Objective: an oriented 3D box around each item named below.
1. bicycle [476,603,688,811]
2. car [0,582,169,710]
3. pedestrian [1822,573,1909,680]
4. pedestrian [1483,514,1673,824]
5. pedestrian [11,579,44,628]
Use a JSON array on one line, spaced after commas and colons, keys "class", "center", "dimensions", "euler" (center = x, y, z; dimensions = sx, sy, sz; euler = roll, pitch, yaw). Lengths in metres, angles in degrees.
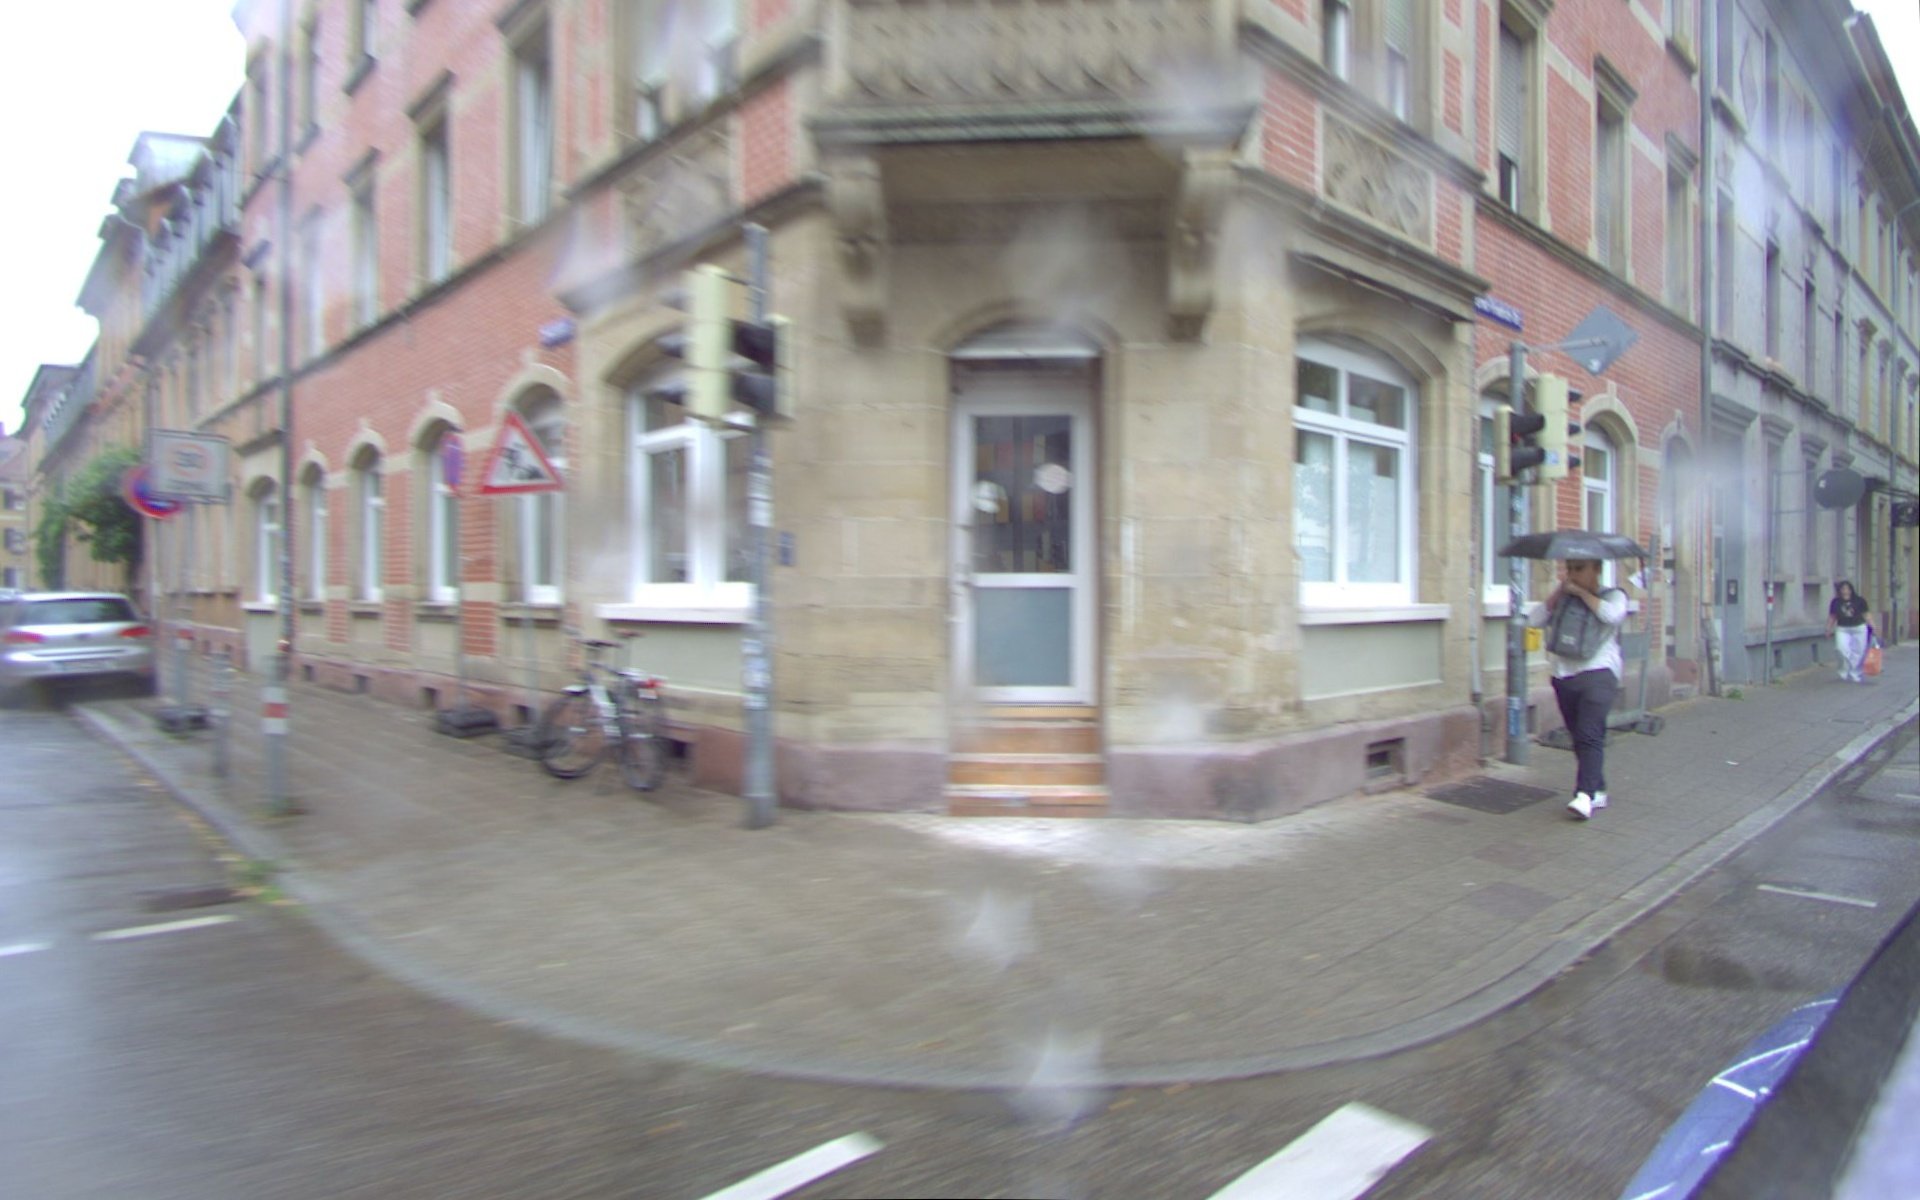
[{"class": "bicycle", "center": [-2.616, 0.658, 6.904], "dimensions": [1.685, 1.237, 0.668], "euler": [-2, 0, 43]}, {"class": "car", "center": [-12.979, 0.565, 14.679], "dimensions": [4.001, 1.509, 1.766], "euler": [0, 4, 44]}, {"class": "pedestrian", "center": [14.411, 0.396, 16.113], "dimensions": [0.566, 1.592, 0.849], "euler": [0, 5, -40]}, {"class": "pedestrian", "center": [4.200, 0.403, 6.882], "dimensions": [0.913, 1.936, 0.786], "euler": [-1, 4, -41]}, {"class": "pedestrian", "center": [-39.464, 0.127, 42.831], "dimensions": [0.975, 2.039, 1.103], "euler": [-1, 1, -44]}]
